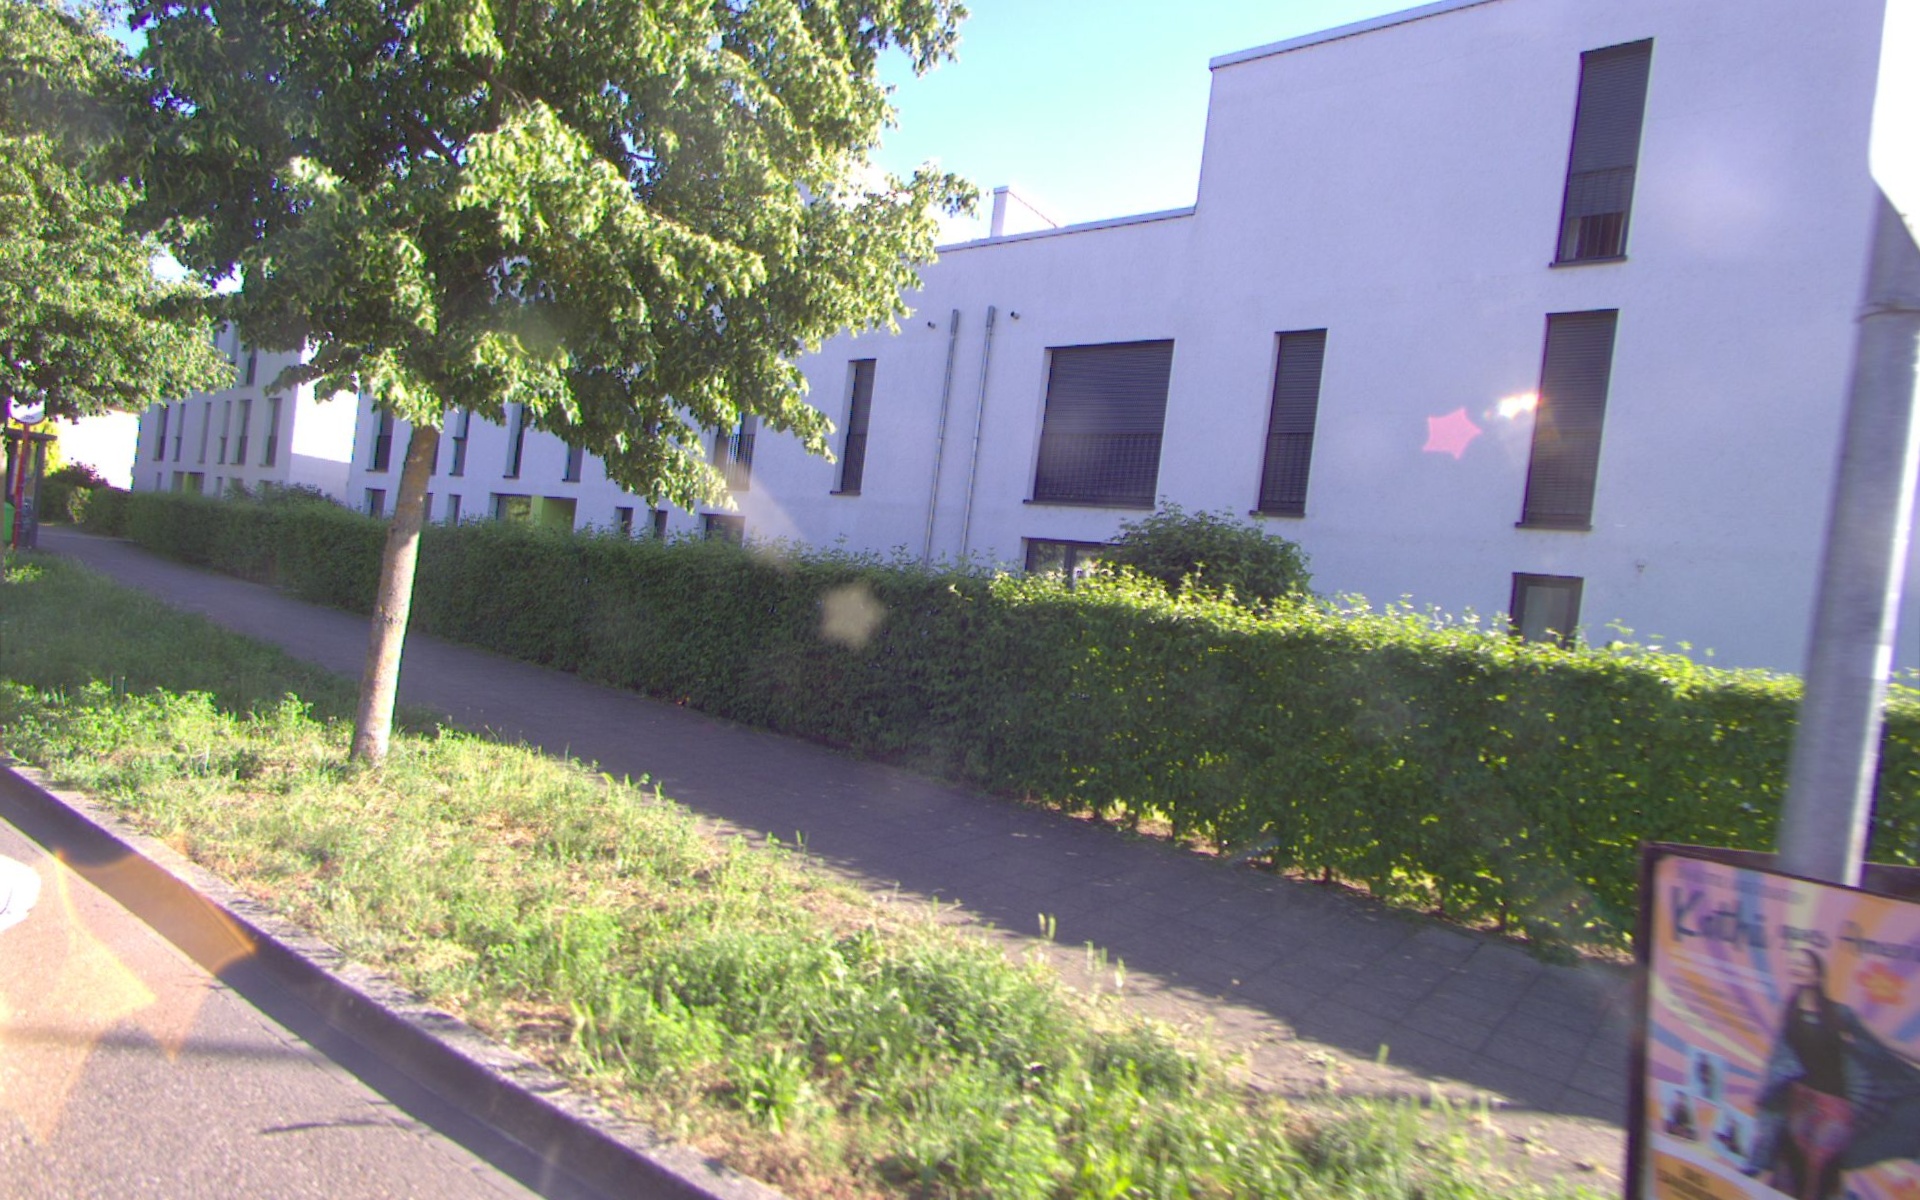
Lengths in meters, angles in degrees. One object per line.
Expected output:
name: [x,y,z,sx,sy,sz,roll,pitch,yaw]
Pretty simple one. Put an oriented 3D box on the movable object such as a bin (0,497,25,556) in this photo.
movable object such as a bin: [-17.591,-1.365,18.487,0.590,1.029,0.369,8,1,30]
